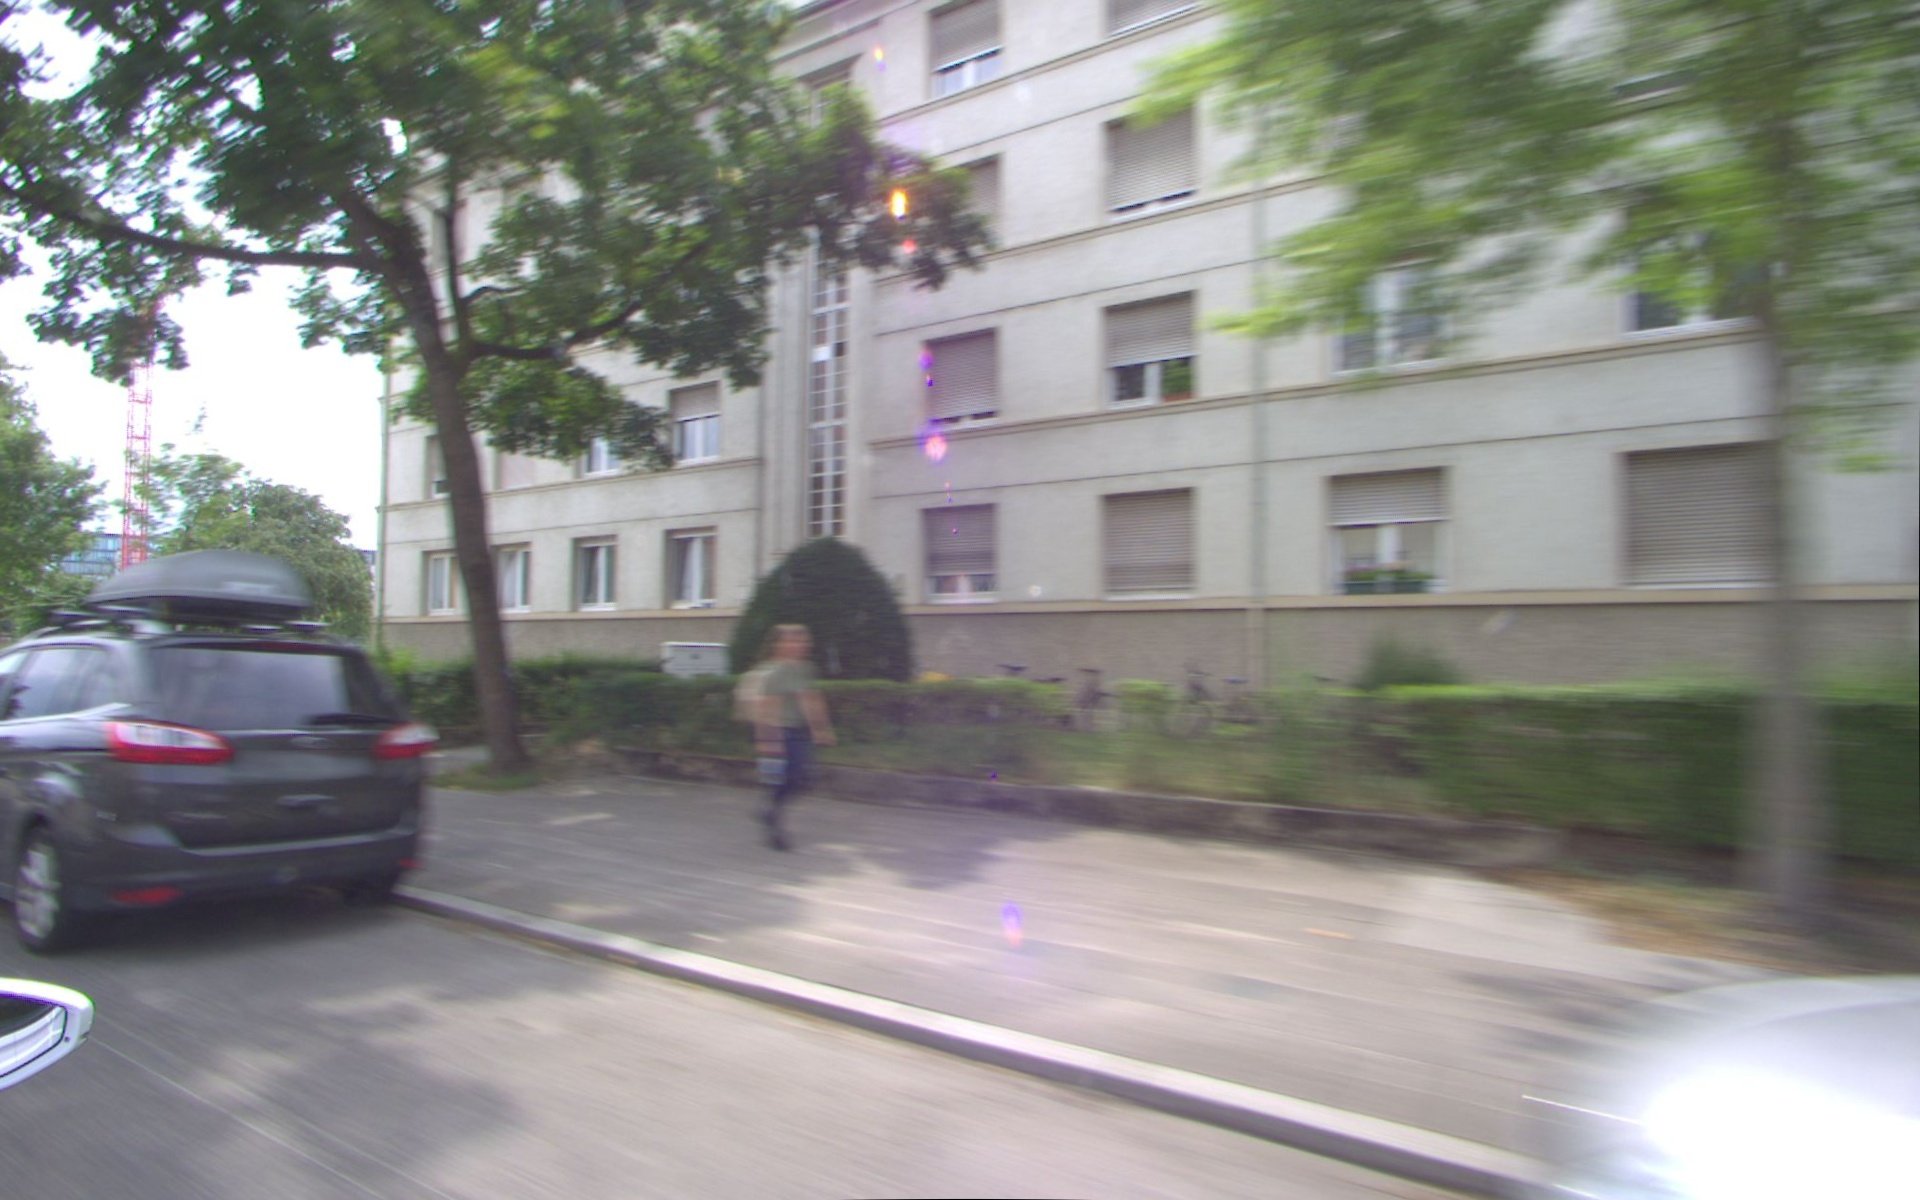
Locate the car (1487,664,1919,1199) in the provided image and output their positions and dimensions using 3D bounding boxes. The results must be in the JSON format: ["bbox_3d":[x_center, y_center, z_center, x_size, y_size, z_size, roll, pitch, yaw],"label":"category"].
[{"bbox_3d":[2.876,0.859,1.071,3.979,1.474,1.657,-1,-5,33],"label":"car"}]

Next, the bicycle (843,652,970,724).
[{"bbox_3d":[-0.959,1.510,17.544,2.216,1.126,0.707,0,-2,33],"label":"bicycle"}]

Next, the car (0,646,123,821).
[{"bbox_3d":[-9.880,1.165,9.465,3.941,1.481,1.713,-1,-6,30],"label":"car"}]

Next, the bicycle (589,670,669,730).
[{"bbox_3d":[-5.494,1.645,16.687,0.505,0.928,1.386,1,-2,20],"label":"bicycle"}]

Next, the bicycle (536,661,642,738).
[{"bbox_3d":[-4.855,1.284,13.176,0.505,0.928,1.386,1,-2,20],"label":"bicycle"}]

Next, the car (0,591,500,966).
[{"bbox_3d":[-5.637,0.937,6.705,5.246,1.680,1.927,-1,-6,30],"label":"car"}]

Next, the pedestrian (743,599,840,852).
[{"bbox_3d":[-1.295,0.933,7.714,0.517,1.851,0.520,-1,-2,39],"label":"pedestrian"}]

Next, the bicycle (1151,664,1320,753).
[{"bbox_3d":[3.935,1.520,14.389,2.216,1.126,0.707,0,-2,33],"label":"bicycle"}]
